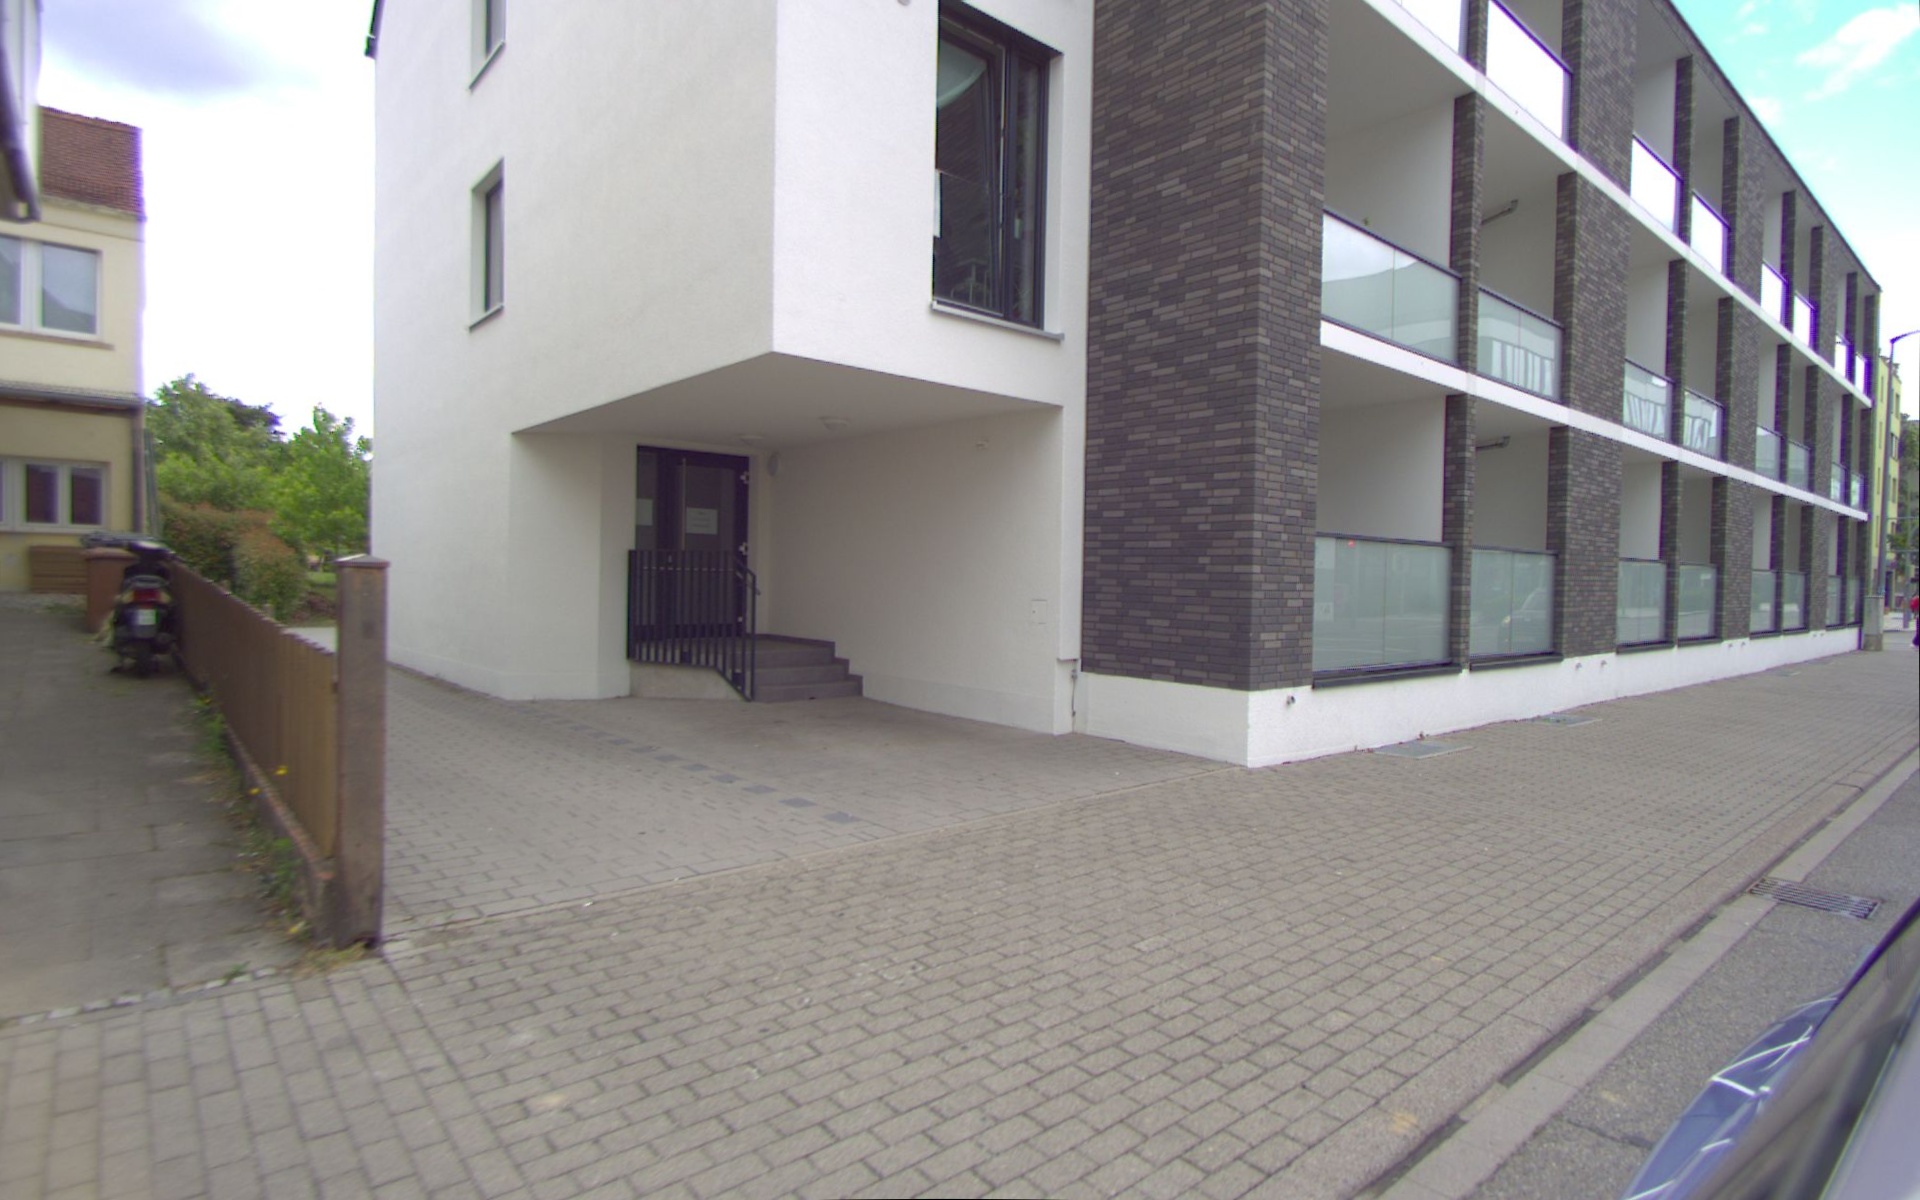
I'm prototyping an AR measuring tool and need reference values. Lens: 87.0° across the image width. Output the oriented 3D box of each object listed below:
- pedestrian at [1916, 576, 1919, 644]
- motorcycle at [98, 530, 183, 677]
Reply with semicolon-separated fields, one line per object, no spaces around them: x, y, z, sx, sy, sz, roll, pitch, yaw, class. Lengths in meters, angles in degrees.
25.752;0.278;26.485;0.885;1.763;0.937;0;1;-41;pedestrian
-7.277;-0.028;8.978;0.526;1.148;2.339;0;2;-40;motorcycle
